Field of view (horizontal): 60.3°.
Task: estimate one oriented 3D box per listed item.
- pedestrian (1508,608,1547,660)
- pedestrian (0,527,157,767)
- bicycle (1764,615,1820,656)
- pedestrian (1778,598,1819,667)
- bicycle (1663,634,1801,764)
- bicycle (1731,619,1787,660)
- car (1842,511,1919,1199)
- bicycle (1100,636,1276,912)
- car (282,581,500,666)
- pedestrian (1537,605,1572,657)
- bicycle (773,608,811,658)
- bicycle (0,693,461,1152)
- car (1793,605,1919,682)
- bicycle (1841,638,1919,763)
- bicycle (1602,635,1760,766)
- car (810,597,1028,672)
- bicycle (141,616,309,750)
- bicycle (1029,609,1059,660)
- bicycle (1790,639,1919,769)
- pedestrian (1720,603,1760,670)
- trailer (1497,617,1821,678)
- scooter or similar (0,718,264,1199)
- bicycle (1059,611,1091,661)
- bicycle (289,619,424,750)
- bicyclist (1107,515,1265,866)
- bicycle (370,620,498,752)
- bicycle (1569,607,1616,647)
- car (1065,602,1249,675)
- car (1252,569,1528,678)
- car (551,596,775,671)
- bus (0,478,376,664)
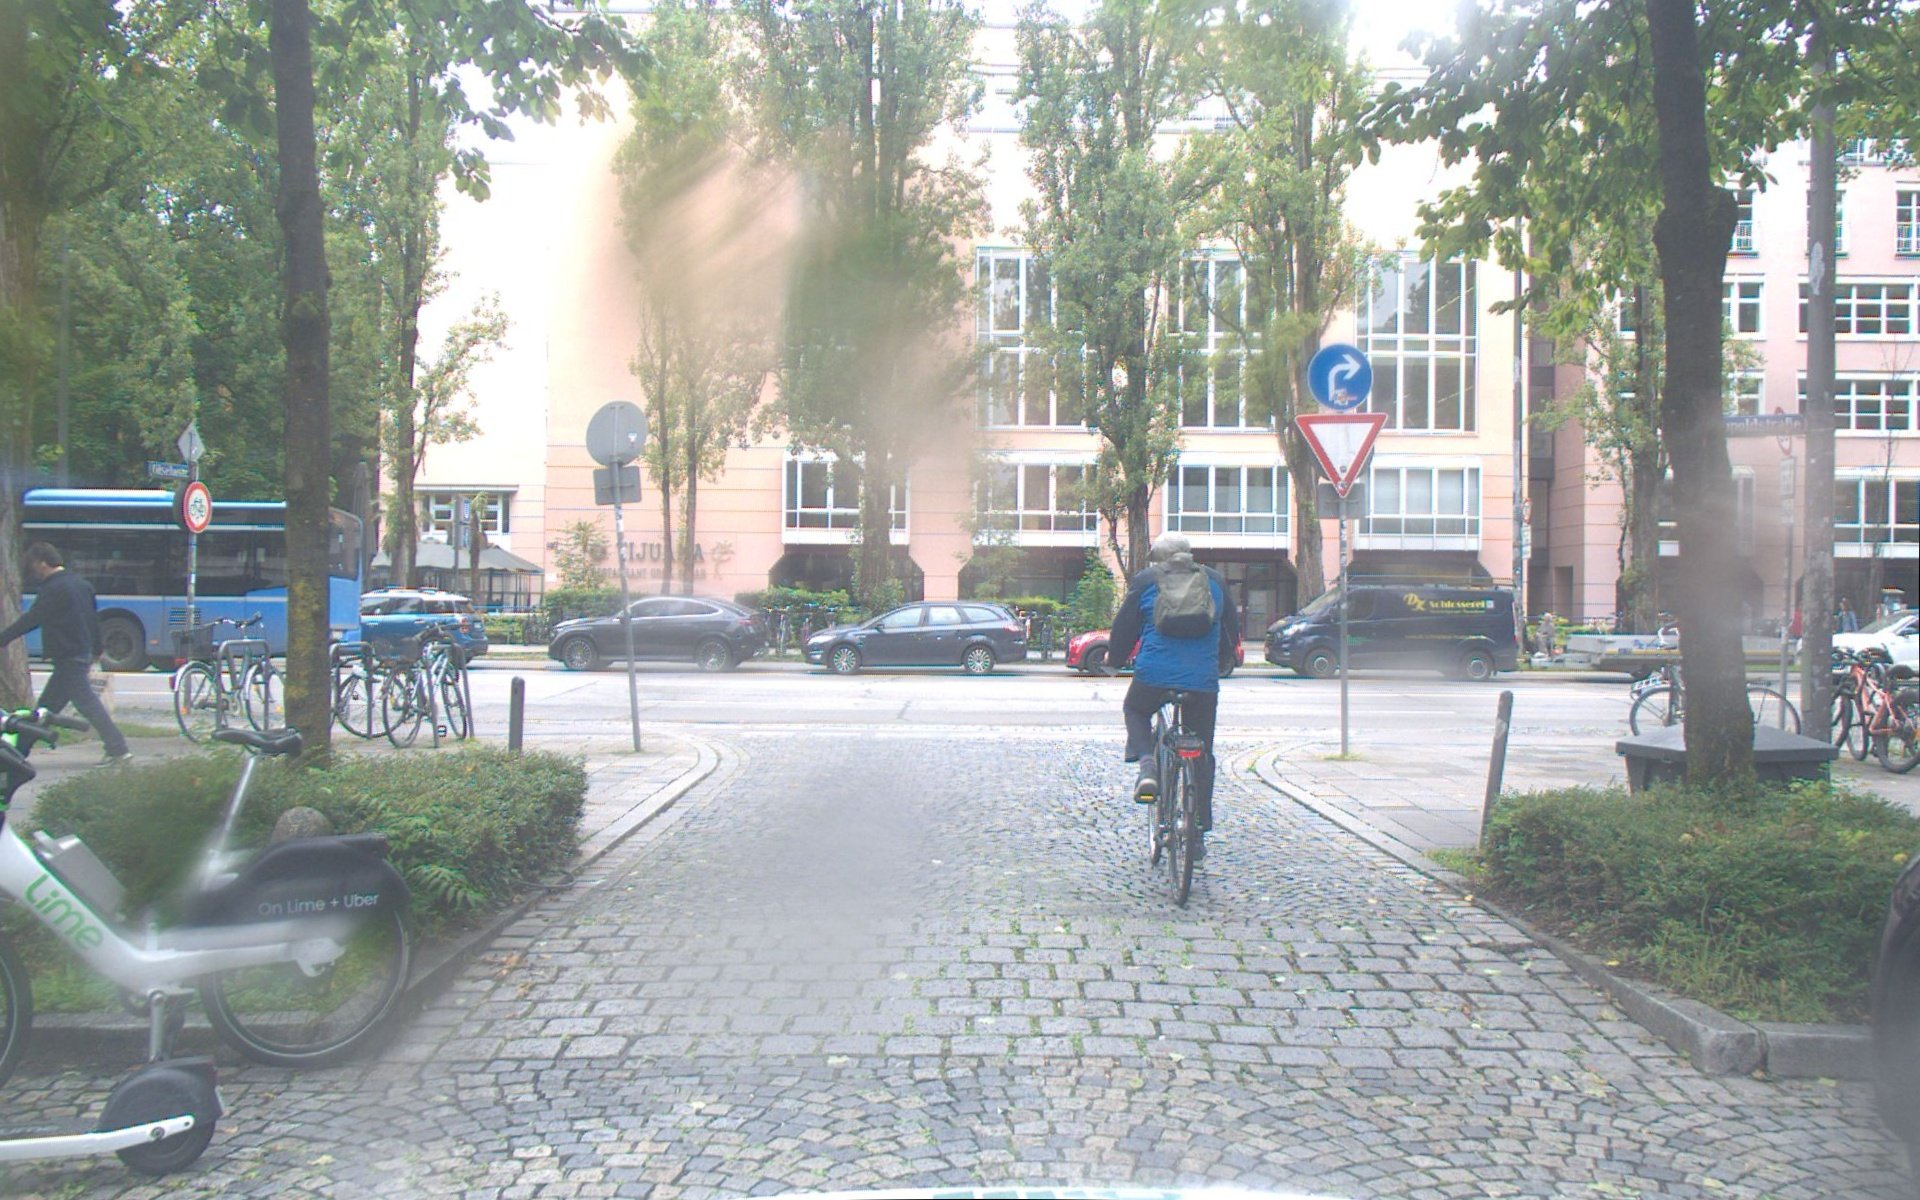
[{"bbox_3d":[15.375,0.922,44.796,0.699,1.393,0.725,0,0,-29],"label":"pedestrian"},{"bbox_3d":[-6.743,0.344,12.481,0.936,1.741,0.858,-1,0,-1],"label":"pedestrian"},{"bbox_3d":[24.289,1.024,48.318,0.660,1.144,1.989,0,0,1],"label":"bicycle"},{"bbox_3d":[21.332,0.824,42.083,0.714,1.743,0.709,0,0,1],"label":"pedestrian"},{"bbox_3d":[7.117,0.877,15.327,0.464,1.069,1.877,0,1,2],"label":"bicycle"},{"bbox_3d":[23.278,1.128,48.210,0.660,1.144,2.107,0,0,1],"label":"bicycle"},{"bbox_3d":[3.169,0.681,1.996,1.881,1.730,4.200,1,0,-2],"label":"car"},{"bbox_3d":[1.075,0.778,8.163,0.702,1.168,1.901,0,0,3],"label":"bicycle"},{"bbox_3d":[-12.037,0.506,35.151,3.982,1.762,1.793,0,-1,-1],"label":"car"},{"bbox_3d":[16.162,0.846,44.970,0.714,1.393,0.709,0,0,1],"label":"pedestrian"},{"bbox_3d":[-4.010,0.770,39.610,0.660,1.144,1.989,0,0,1],"label":"bicycle"},{"bbox_3d":[-2.403,0.891,4.831,1.739,1.163,0.548,0,0,-31],"label":"bicycle"},{"bbox_3d":[20.024,0.908,34.718,4.132,1.569,1.807,0,-1,2],"label":"car"},{"bbox_3d":[8.514,0.873,14.665,0.464,1.069,1.877,0,-1,2],"label":"bicycle"},{"bbox_3d":[6.416,0.864,14.811,0.465,1.069,1.874,0,-1,-5],"label":"bicycle"},{"bbox_3d":[-0.830,0.712,35.174,4.513,1.555,1.794,0,0,1],"label":"car"},{"bbox_3d":[-6.657,0.719,15.086,0.479,1.112,1.985,0,0,5],"label":"bicycle"},{"bbox_3d":[1.975,0.803,38.971,0.660,1.144,1.742,0,0,1],"label":"bicycle"},{"bbox_3d":[8.031,0.885,14.657,0.464,1.069,1.877,0,-1,2],"label":"bicycle"},{"bbox_3d":[20.442,0.950,43.345,0.714,1.743,0.709,0,0,1],"label":"pedestrian"},{"bbox_3d":[14.720,0.985,35.136,5.894,1.220,2.405,0,0,1],"label":"trailer"},{"bbox_3d":[-2.500,0.908,4.122,1.407,1.164,0.367,0,0,-24],"label":"scooter or similar"},{"bbox_3d":[2.701,0.834,38.959,0.660,1.144,1.742,0,0,1],"label":"bicycle"},{"bbox_3d":[-5.533,0.748,15.257,0.479,1.112,1.704,0,0,5],"label":"bicycle"},{"bbox_3d":[1.097,0.423,8.167,0.707,1.647,0.757,0,0,3],"label":"bicyclist"},{"bbox_3d":[-4.769,0.749,15.090,0.479,1.112,1.704,0,0,5],"label":"bicycle"},{"bbox_3d":[18.561,0.776,48.588,0.660,1.144,1.989,0,0,1],"label":"bicycle"},{"bbox_3d":[4.107,0.797,34.937,3.780,1.474,1.679,0,0,3],"label":"car"},{"bbox_3d":[9.054,0.480,35.143,5.366,2.235,2.024,0,0,1],"label":"car"},{"bbox_3d":[-6.264,0.691,35.201,4.407,1.555,1.794,0,0,1],"label":"car"},{"bbox_3d":[-15.073,-0.485,29.382,8.315,3.105,2.927,0,0,0],"label":"bus"}]
